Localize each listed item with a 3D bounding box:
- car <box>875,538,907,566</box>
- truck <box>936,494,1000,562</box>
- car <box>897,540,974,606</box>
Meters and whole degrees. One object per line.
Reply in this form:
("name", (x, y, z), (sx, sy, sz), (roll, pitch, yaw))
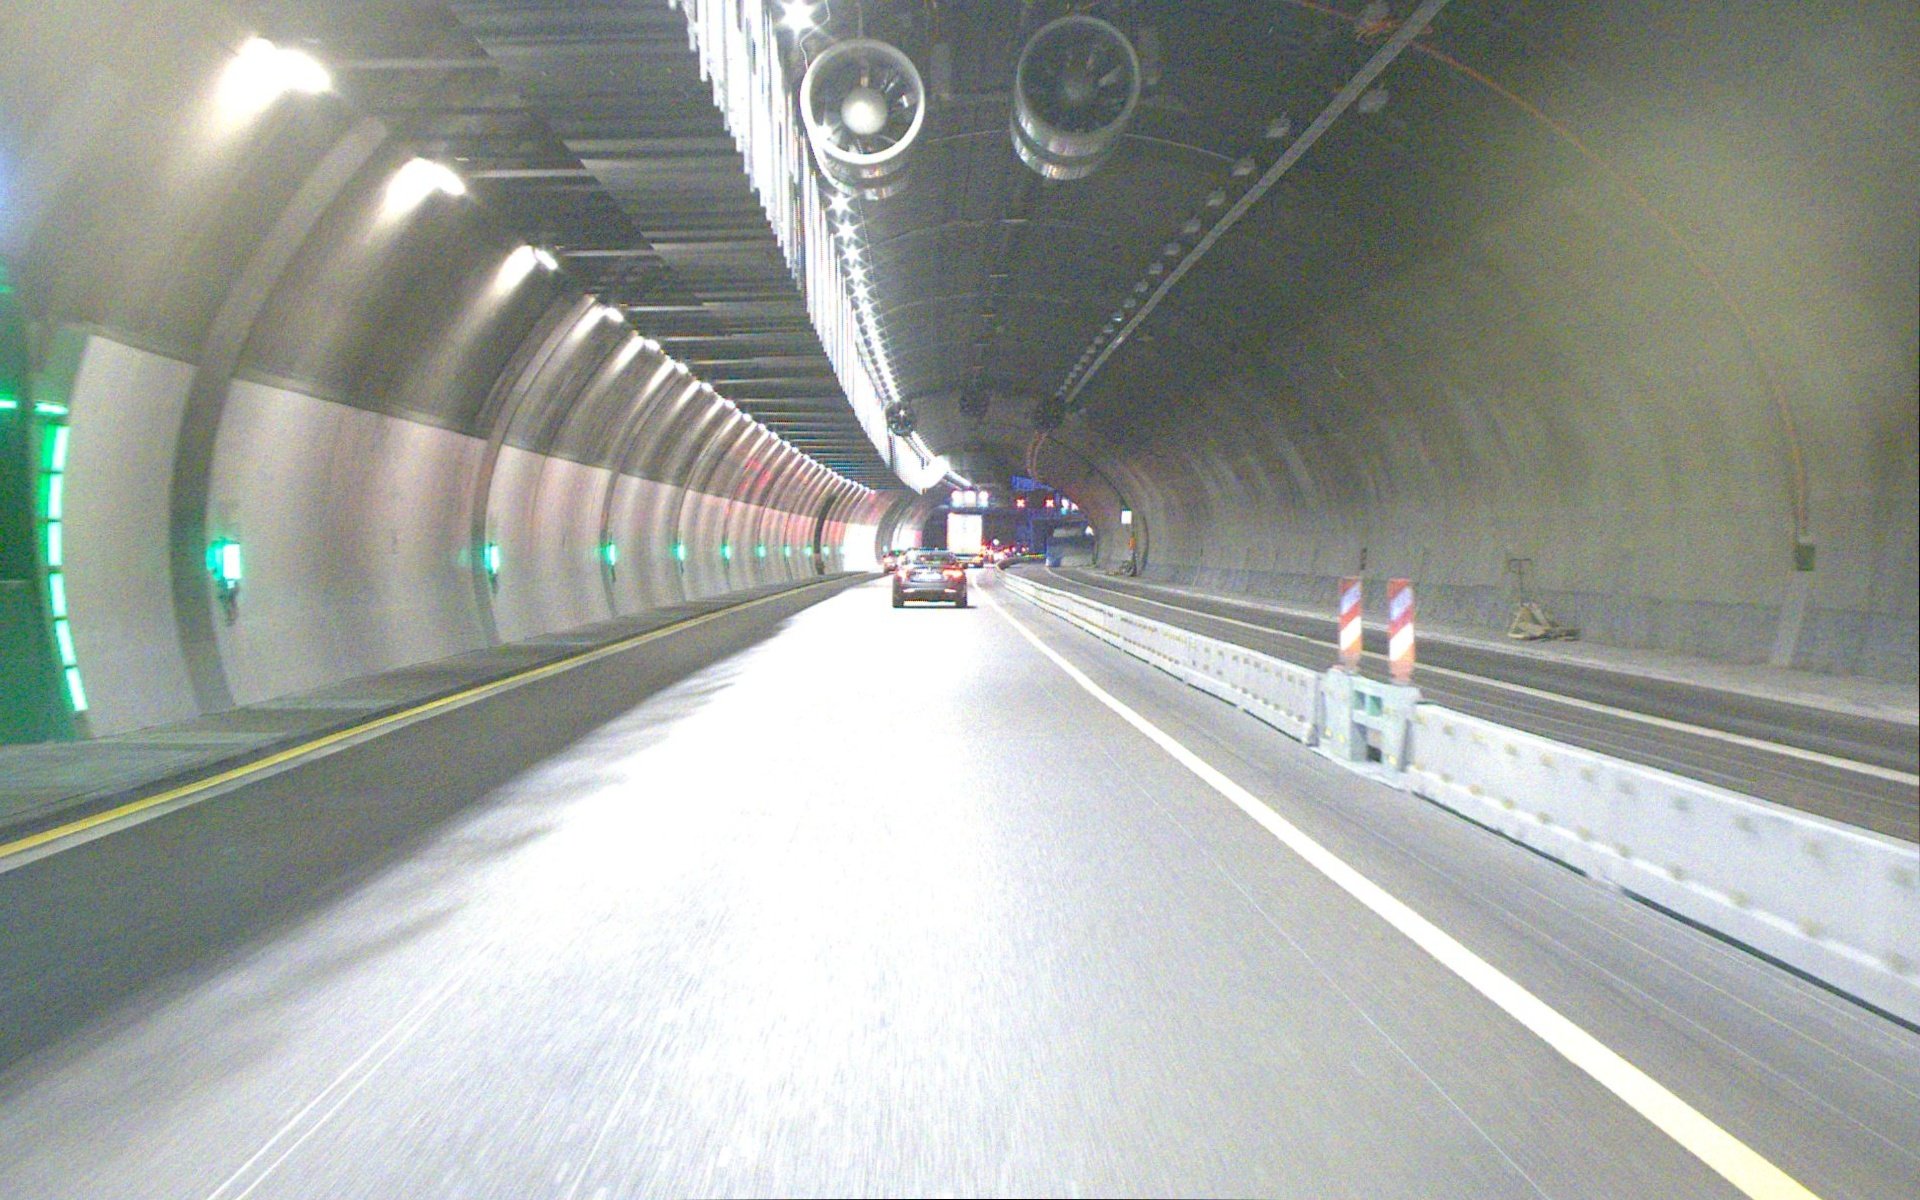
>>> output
("car", (-4.042, -2.799, 202.225), (1.827, 1.601, 4.000), (1, 0, -1))
("truck", (0.664, -5.438, 261.877), (4.546, 4.970, 9.598), (1, 0, 2))
("car", (-0.644, -0.683, 86.915), (1.887, 1.601, 4.000), (1, 0, -1))
